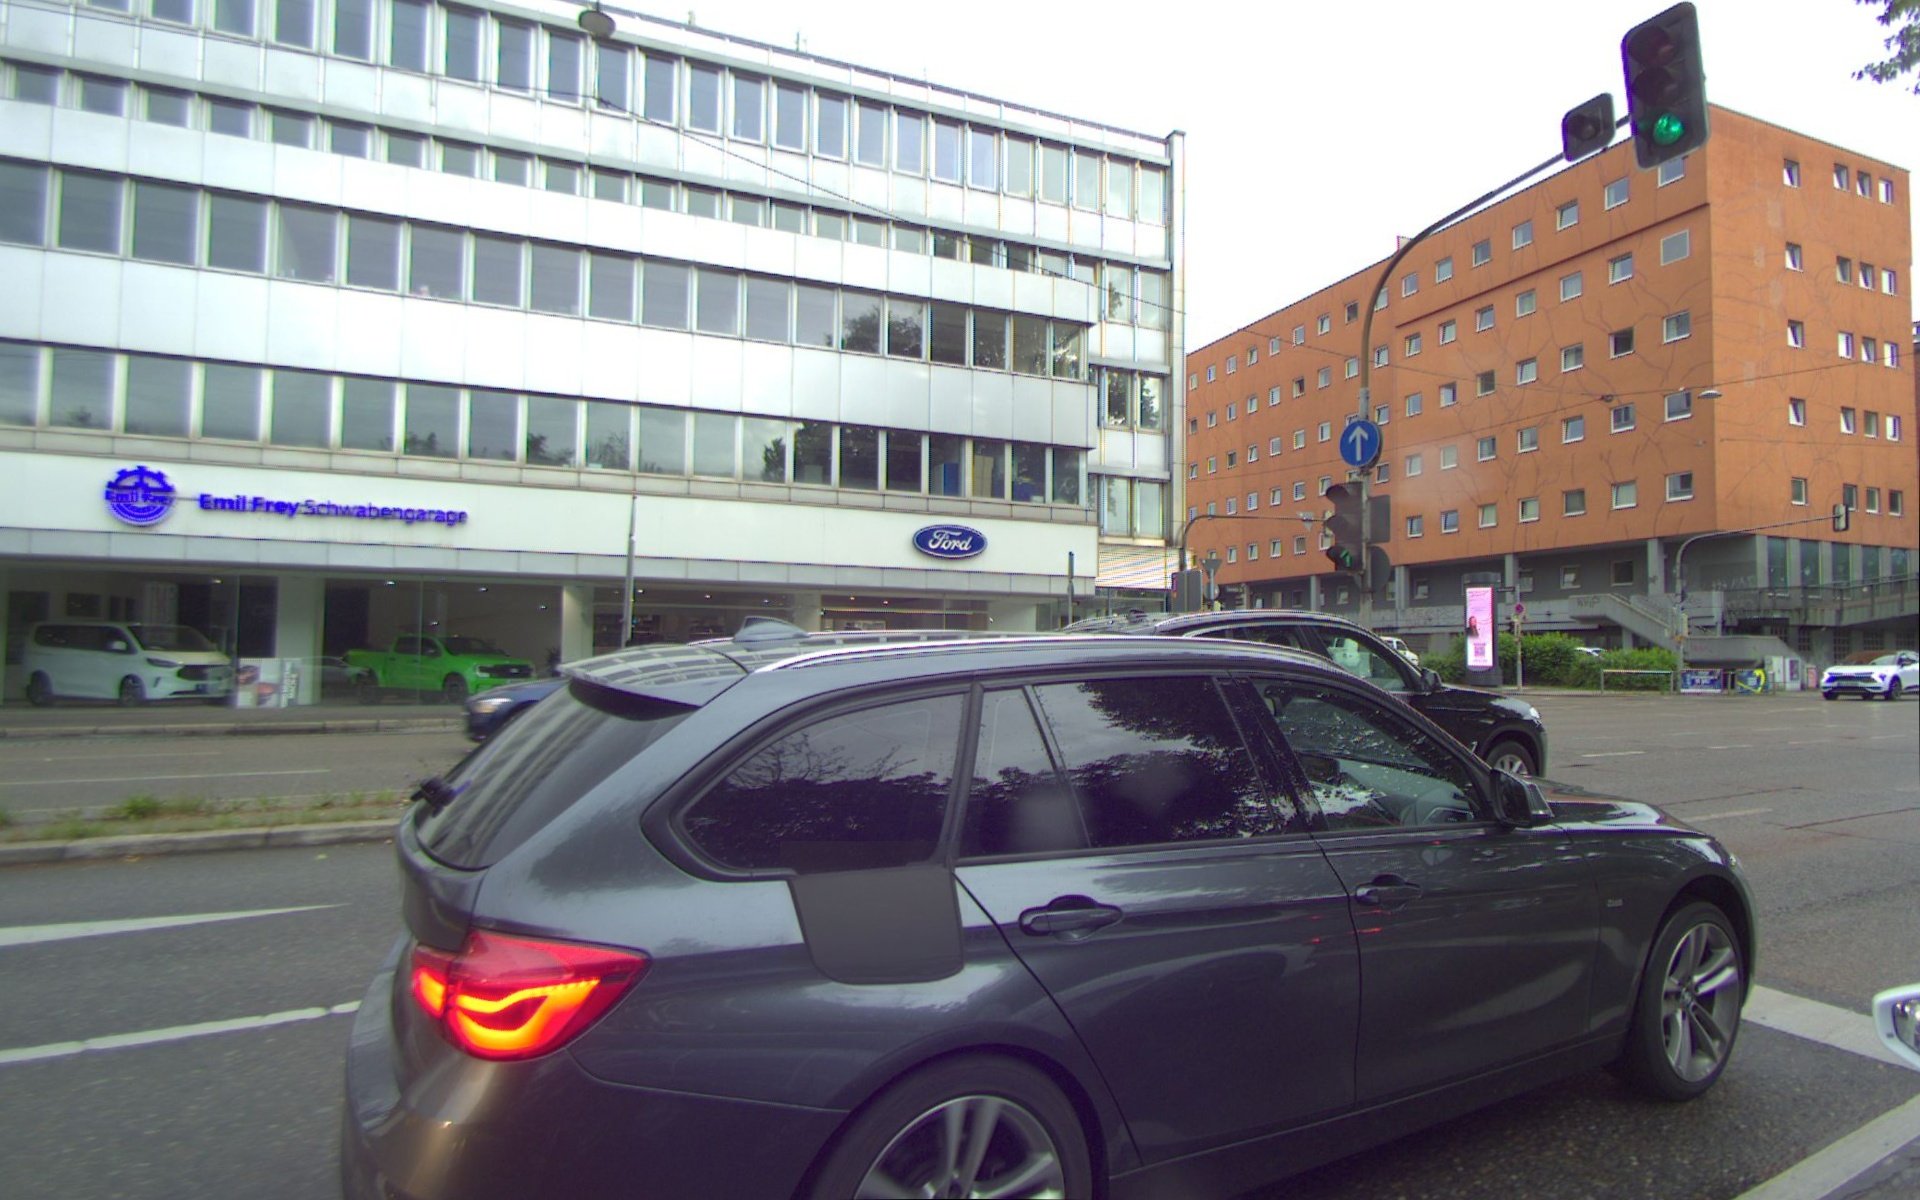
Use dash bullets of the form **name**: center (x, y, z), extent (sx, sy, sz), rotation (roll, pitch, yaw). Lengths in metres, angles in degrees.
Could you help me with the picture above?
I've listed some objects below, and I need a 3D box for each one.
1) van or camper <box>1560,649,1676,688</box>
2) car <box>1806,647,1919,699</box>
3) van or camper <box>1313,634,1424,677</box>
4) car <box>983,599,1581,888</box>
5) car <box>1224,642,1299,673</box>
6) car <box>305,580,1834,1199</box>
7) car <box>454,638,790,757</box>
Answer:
- **van or camper**: center (29.523, 3.051, 45.188), extent (1.887, 1.648, 3.978), rotation (1, -3, -23)
- **car**: center (30.369, 2.403, 33.409), extent (4.400, 1.631, 1.883), rotation (2, -3, -28)
- **van or camper**: center (21.050, 2.862, 51.742), extent (5.376, 2.003, 2.121), rotation (2, -1, -24)
- **car**: center (2.539, 0.913, 7.694), extent (4.389, 1.678, 1.802), rotation (2, -1, -28)
- **car**: center (17.587, 3.362, 58.630), extent (4.028, 1.633, 1.706), rotation (2, 0, -23)
- **car**: center (0.657, 0.818, 3.175), extent (4.423, 1.477, 1.769), rotation (2, -3, -29)
- **car**: center (-4.623, 1.287, 13.879), extent (4.163, 1.437, 1.679), rotation (2, -4, -29)
